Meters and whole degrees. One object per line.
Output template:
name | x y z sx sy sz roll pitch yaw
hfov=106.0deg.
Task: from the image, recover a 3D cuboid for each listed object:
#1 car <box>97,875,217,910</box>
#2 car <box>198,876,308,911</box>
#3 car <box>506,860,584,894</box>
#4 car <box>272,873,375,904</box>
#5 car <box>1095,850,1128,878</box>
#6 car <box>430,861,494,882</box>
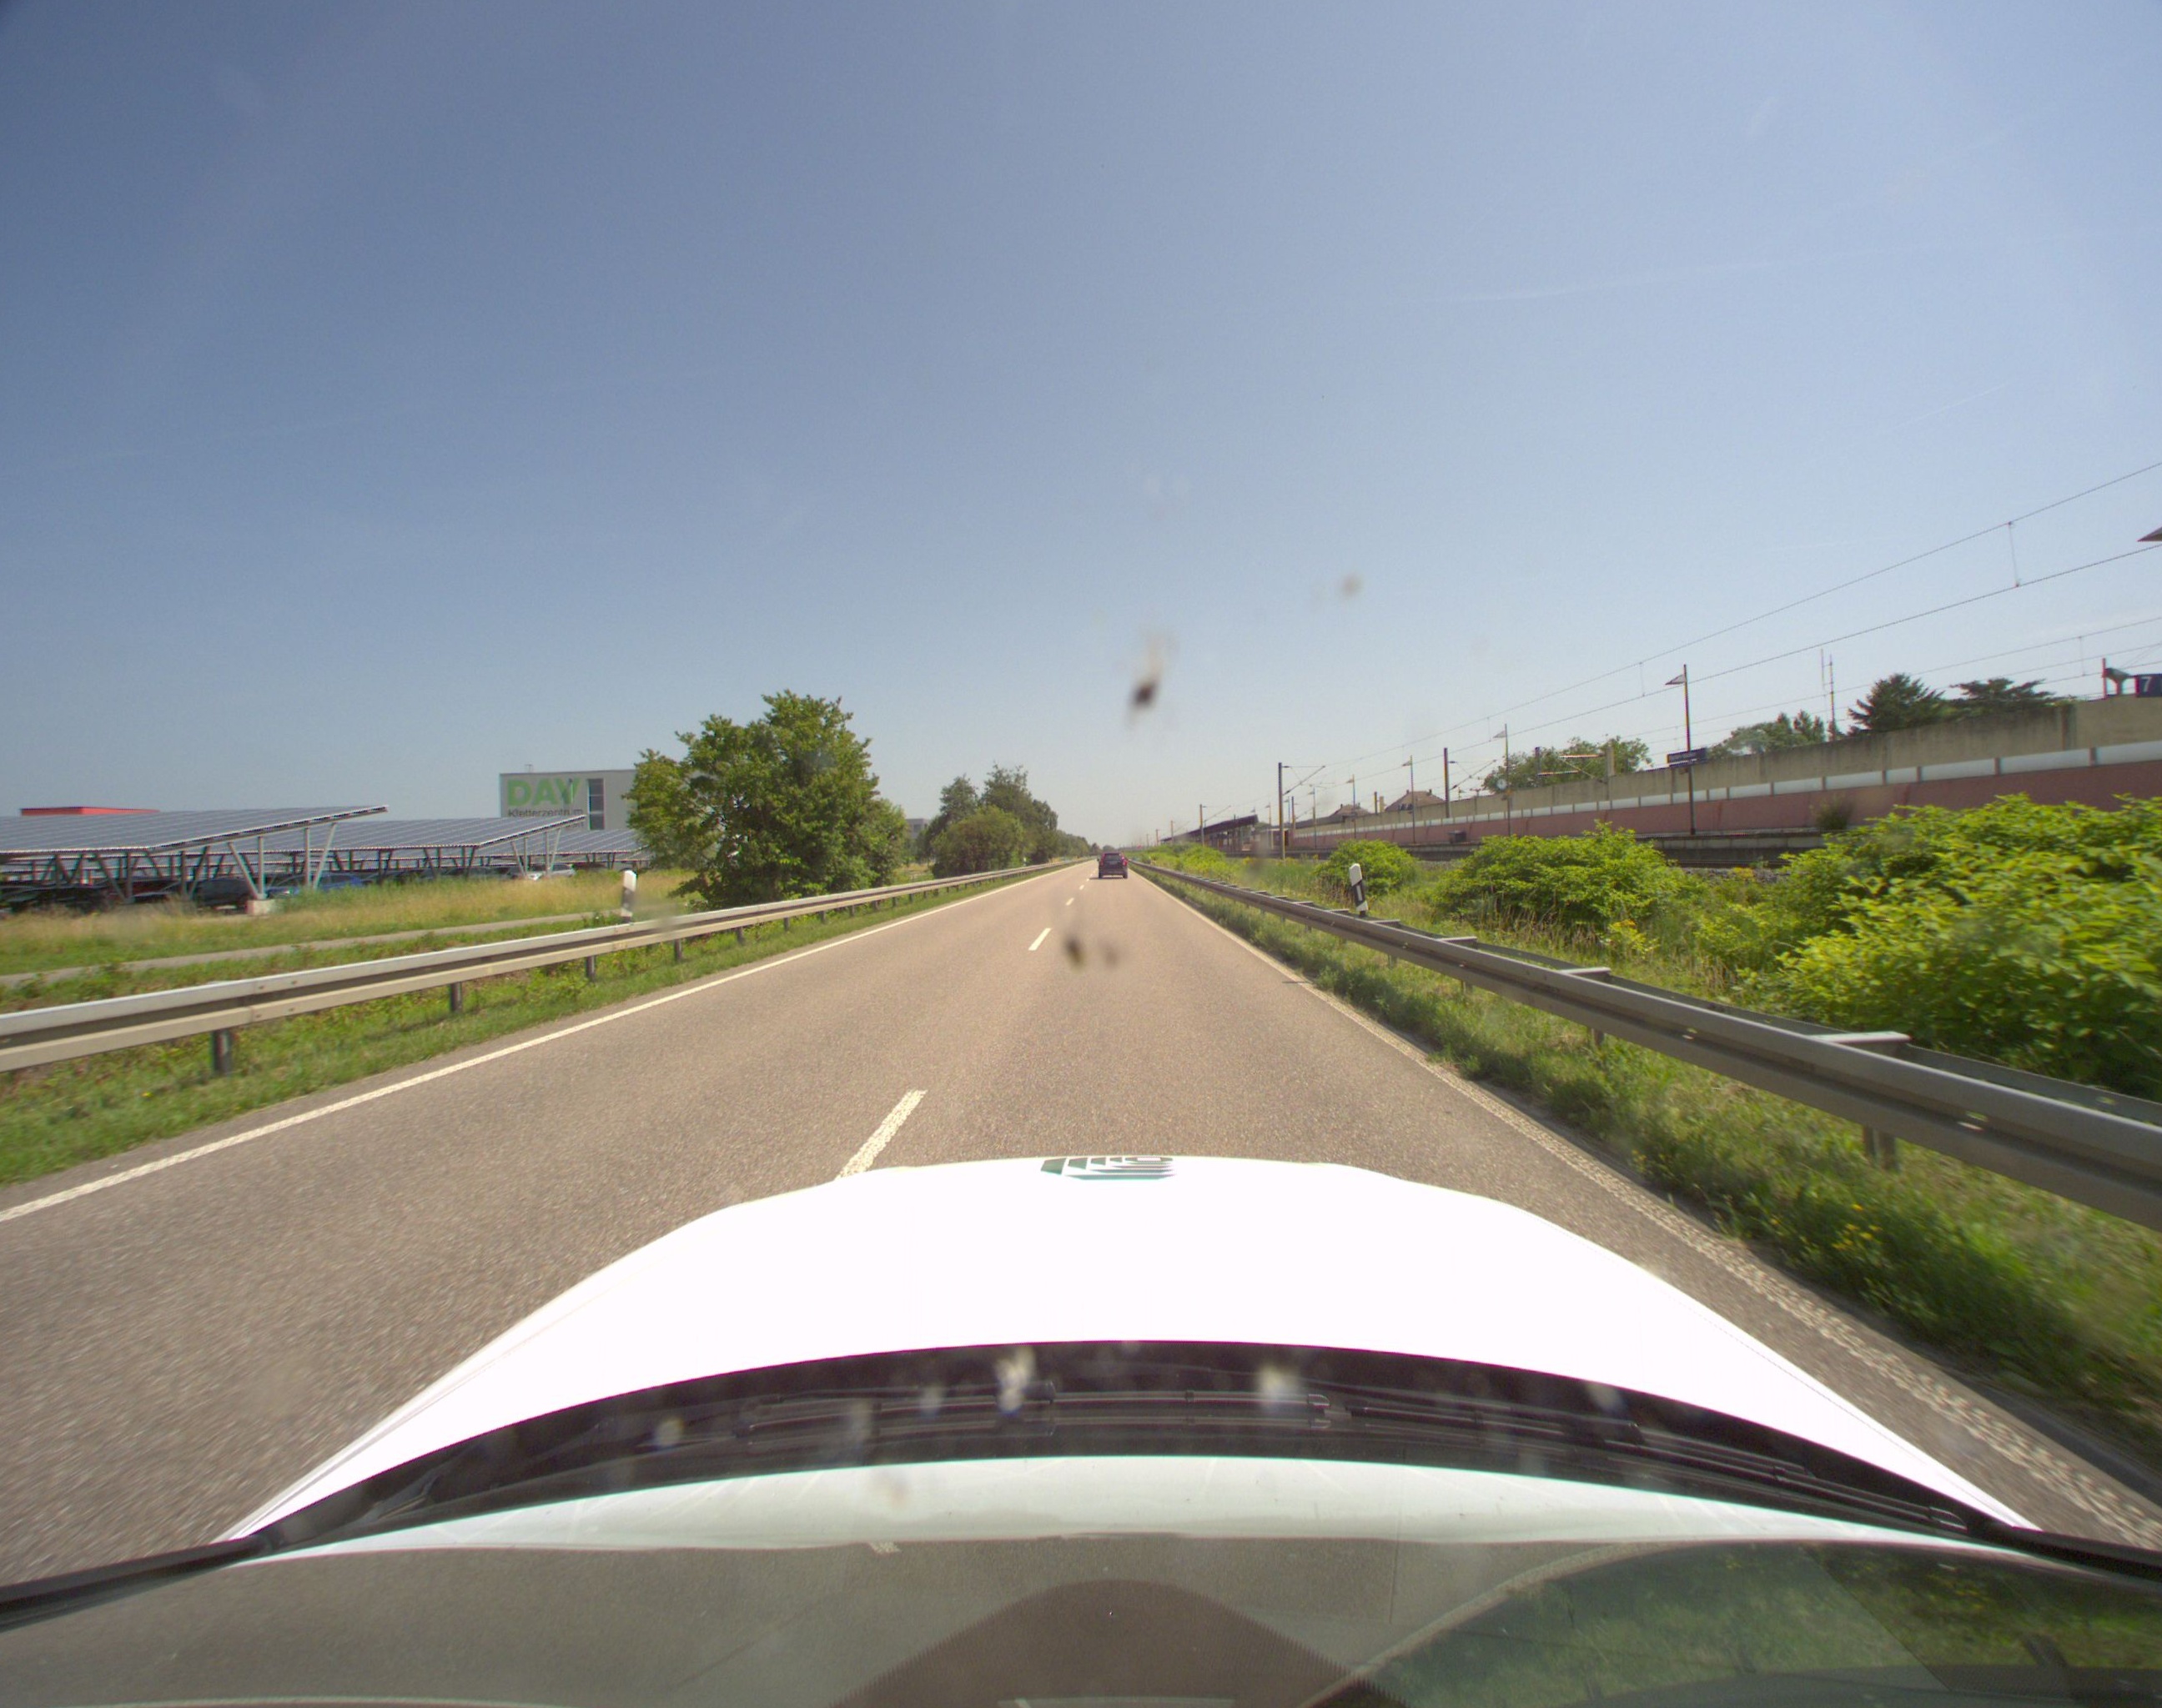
car | -53.555 2.208 47.333 1.986 1.804 4.264 -1 0 2
car | -48.399 2.268 47.717 1.986 1.804 4.264 -1 0 2
car | -35.106 1.456 53.506 1.986 2.013 4.519 -2 0 2
car | -34.991 1.567 37.746 1.614 1.291 3.363 -2 0 -1
car | 1.967 0.625 53.481 1.987 1.700 3.999 -1 0 -1
car | -39.997 1.110 52.696 1.614 1.291 3.363 -2 0 -1
